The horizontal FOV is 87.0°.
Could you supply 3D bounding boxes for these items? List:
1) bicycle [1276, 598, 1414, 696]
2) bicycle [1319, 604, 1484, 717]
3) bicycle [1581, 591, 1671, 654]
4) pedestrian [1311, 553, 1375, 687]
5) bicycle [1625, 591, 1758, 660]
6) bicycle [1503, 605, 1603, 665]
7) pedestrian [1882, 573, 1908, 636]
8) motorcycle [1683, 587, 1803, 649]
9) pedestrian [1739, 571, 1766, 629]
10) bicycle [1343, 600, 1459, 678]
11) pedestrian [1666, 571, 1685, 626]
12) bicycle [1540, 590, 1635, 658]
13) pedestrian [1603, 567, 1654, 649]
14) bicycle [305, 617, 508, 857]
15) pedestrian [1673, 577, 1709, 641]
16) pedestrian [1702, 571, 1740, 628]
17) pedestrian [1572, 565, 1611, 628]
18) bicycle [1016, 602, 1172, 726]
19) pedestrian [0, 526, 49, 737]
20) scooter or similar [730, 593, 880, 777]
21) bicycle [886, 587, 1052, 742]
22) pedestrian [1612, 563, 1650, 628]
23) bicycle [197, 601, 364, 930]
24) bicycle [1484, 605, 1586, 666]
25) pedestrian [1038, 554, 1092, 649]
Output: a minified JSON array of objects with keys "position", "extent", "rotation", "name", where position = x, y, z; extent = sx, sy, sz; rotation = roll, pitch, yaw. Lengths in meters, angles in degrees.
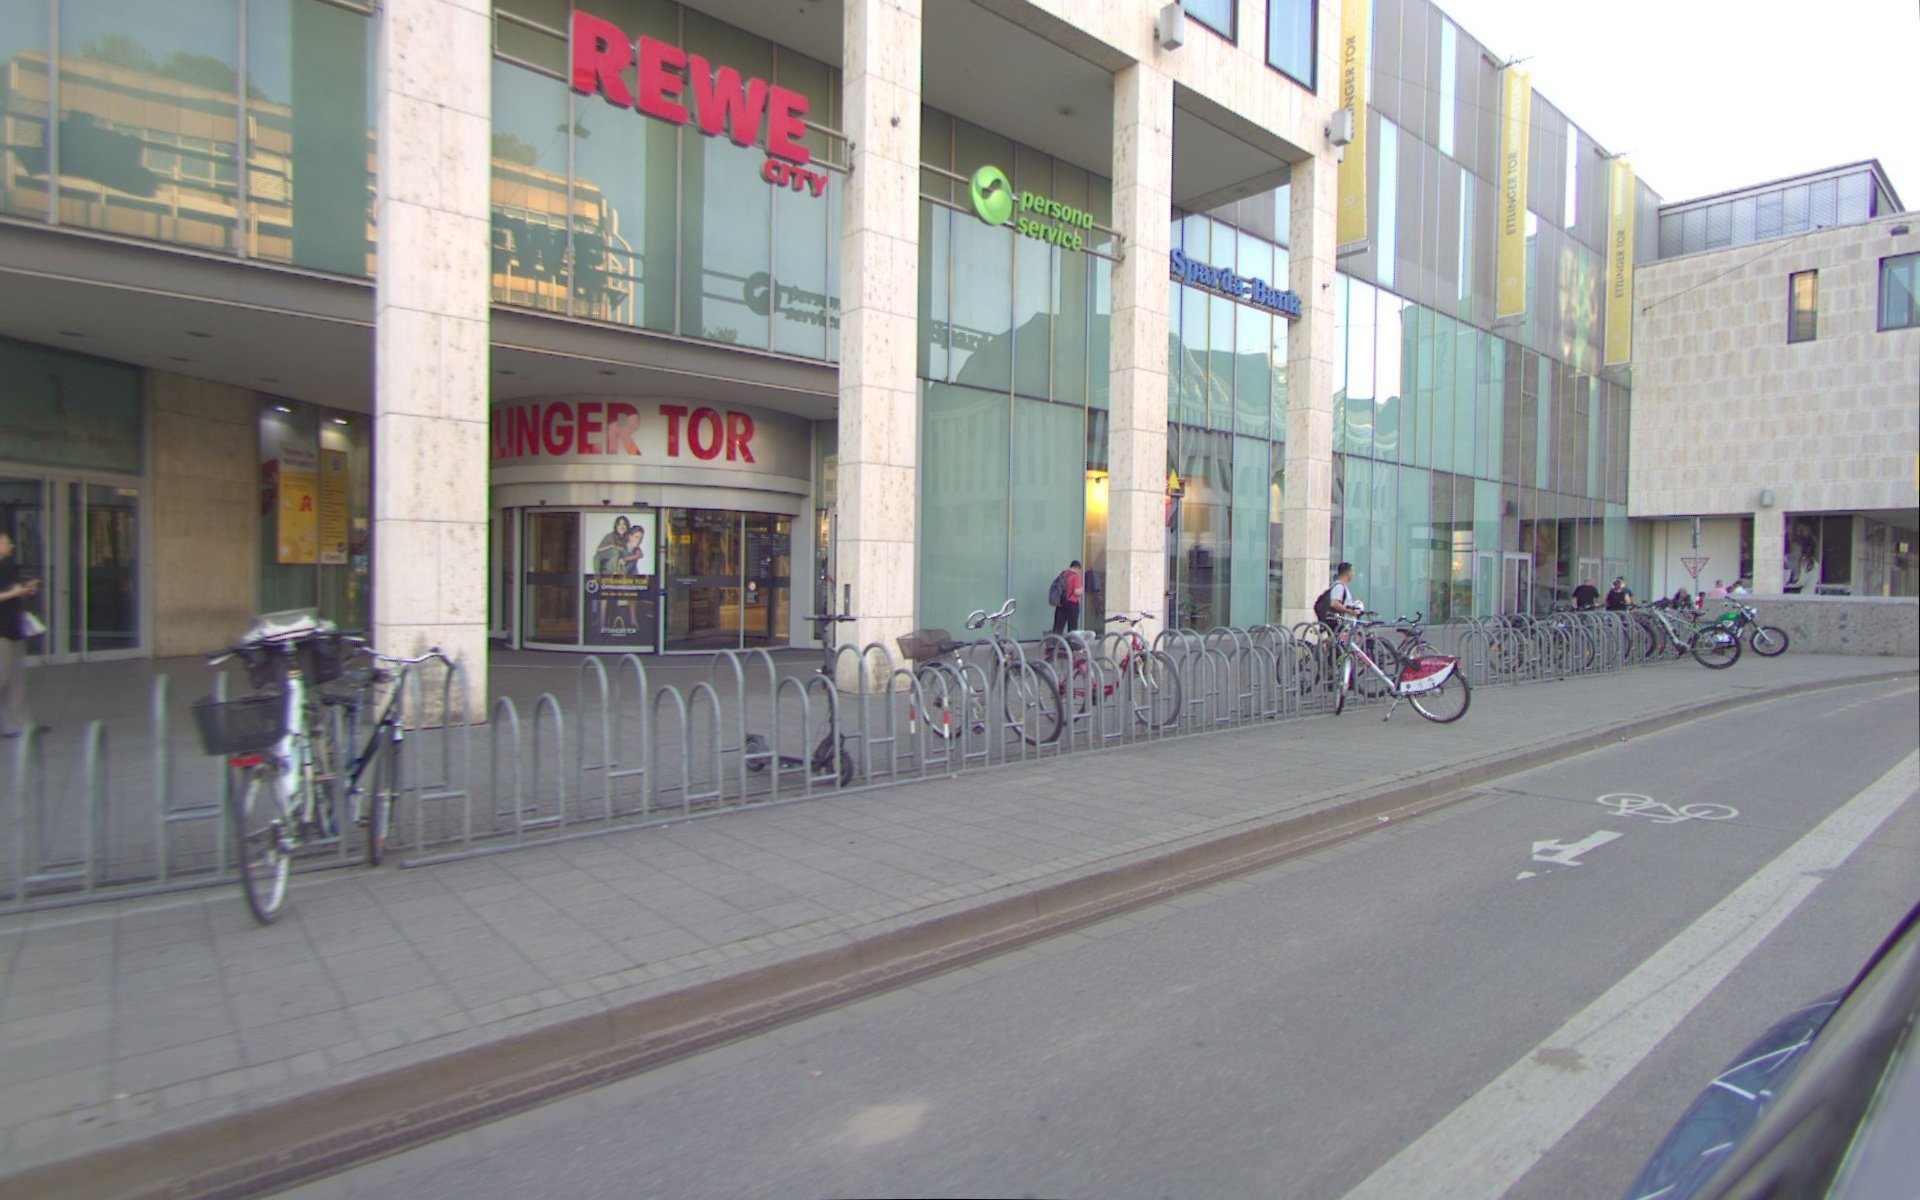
[{"position":[4.737,0.551,12.523],"extent":[0.570,1.138,1.519],"rotation":[0,-1,-36],"name":"bicycle"},{"position":[4.526,0.591,10.461],"extent":[0.458,1.077,1.518],"rotation":[0,-1,-39],"name":"bicycle"},{"position":[12.765,0.422,19.419],"extent":[0.509,1.178,1.344],"rotation":[0,-1,-41],"name":"bicycle"},{"position":[5.095,0.247,13.442],"extent":[0.701,1.713,0.623],"rotation":[1,1,28],"name":"pedestrian"},{"position":[12.934,0.438,17.943],"extent":[0.458,1.161,1.837],"rotation":[0,-1,-39],"name":"bicycle"},{"position":[9.823,0.566,16.790],"extent":[0.509,0.944,1.344],"rotation":[0,-1,-41],"name":"bicycle"},{"position":[26.925,0.121,29.142],"extent":[0.483,1.765,0.455],"rotation":[0,1,-38],"name":"pedestrian"},{"position":[16.954,0.370,21.958],"extent":[0.473,1.239,2.004],"rotation":[0,2,-43],"name":"motorcycle"},{"position":[24.741,-0.006,31.605],"extent":[0.644,1.765,0.494],"rotation":[0,1,-38],"name":"pedestrian"},{"position":[6.375,0.552,14.660],"extent":[1.439,1.078,0.572],"rotation":[-1,-1,39],"name":"bicycle"},{"position":[23.192,-0.053,32.790],"extent":[0.444,1.765,0.364],"rotation":[0,1,-38],"name":"pedestrian"},{"position":[11.199,0.420,18.097],"extent":[0.509,1.178,1.344],"rotation":[0,-1,-41],"name":"bicycle"},{"position":[13.822,0.151,20.945],"extent":[0.802,1.663,0.640],"rotation":[1,1,31],"name":"pedestrian"},{"position":[-3.186,0.685,5.747],"extent":[1.768,1.092,0.475],"rotation":[2,2,43],"name":"bicycle"},{"position":[21.053,0.242,29.161],"extent":[0.797,1.802,0.619],"rotation":[0,1,-38],"name":"pedestrian"},{"position":[24.021,-0.023,31.937],"extent":[0.644,1.765,0.794],"rotation":[0,1,-38],"name":"pedestrian"},{"position":[17.307,-0.109,27.730],"extent":[0.738,1.668,0.808],"rotation":[2,1,42],"name":"pedestrian"},{"position":[1.279,0.588,9.889],"extent":[0.543,1.120,1.516],"rotation":[0,-1,-43],"name":"bicycle"},{"position":[-7.881,0.240,8.201],"extent":[0.695,1.659,0.793],"rotation":[0,1,-39],"name":"pedestrian"},{"position":[-1.169,0.576,7.498],"extent":[0.484,1.214,1.194],"rotation":[0,2,-44],"name":"scooter or similar"},{"position":[0.045,0.524,8.887],"extent":[0.607,1.243,1.517],"rotation":[0,-1,-41],"name":"bicycle"},{"position":[17.928,-0.131,27.034],"extent":[0.696,1.717,0.808],"rotation":[2,1,43],"name":"pedestrian"},{"position":[-3.095,0.630,4.602],"extent":[0.538,1.198,1.485],"rotation":[0,2,-35],"name":"bicycle"},{"position":[9.311,0.563,16.412],"extent":[0.509,0.944,1.344],"rotation":[0,-1,-41],"name":"bicycle"},{"position":[1.885,0.012,18.172],"extent":[0.695,1.672,0.629],"rotation":[0,1,-39],"name":"pedestrian"}]
